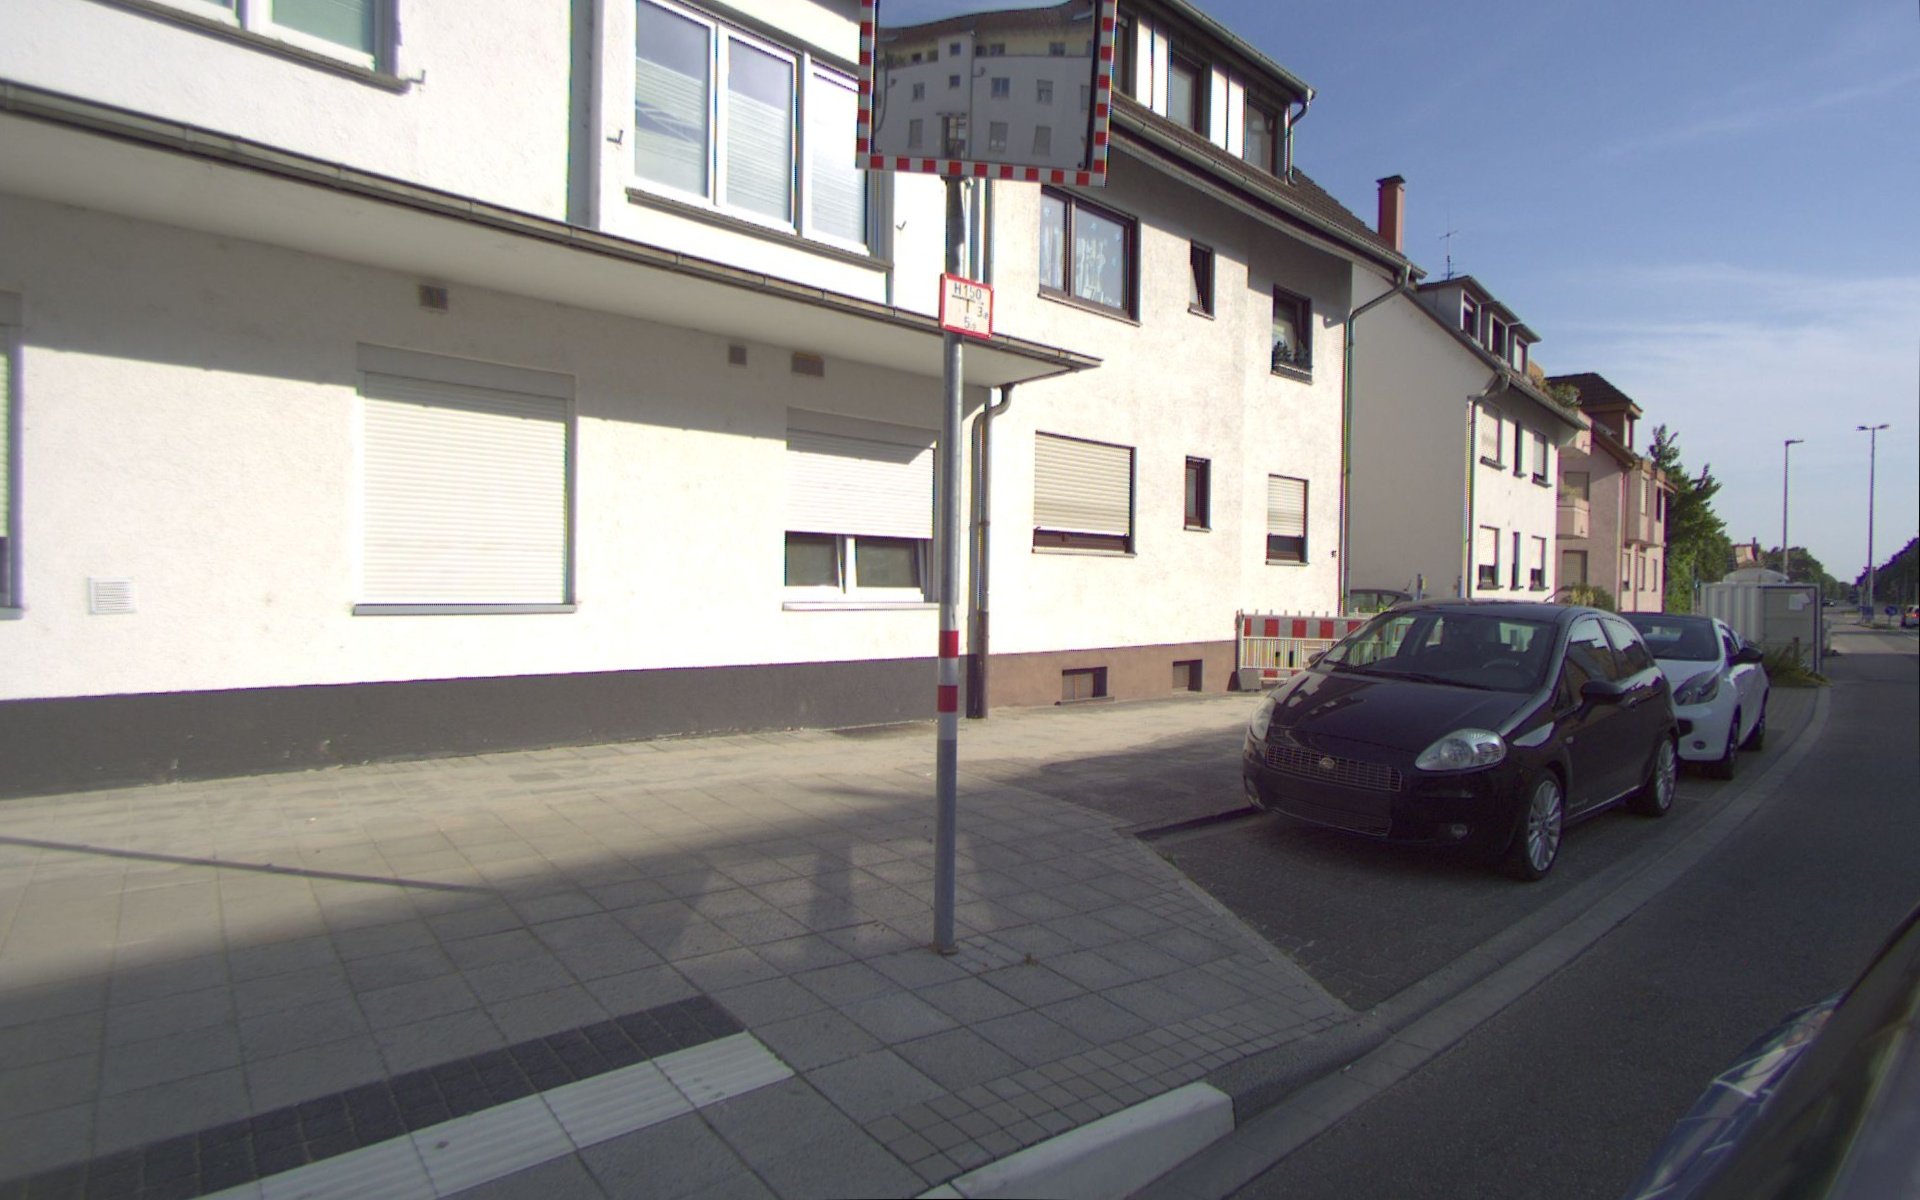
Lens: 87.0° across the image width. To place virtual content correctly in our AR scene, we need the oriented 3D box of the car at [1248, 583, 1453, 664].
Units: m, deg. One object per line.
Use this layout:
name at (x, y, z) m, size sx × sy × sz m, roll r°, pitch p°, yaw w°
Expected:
car at (8.314, 0.439, 21.741) m, size 3.742 × 1.586 × 1.766 m, roll 1°, pitch 1°, yaw 45°

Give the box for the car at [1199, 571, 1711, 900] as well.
car at (3.366, 0.601, 6.533) m, size 3.853 × 1.438 × 1.611 m, roll 0°, pitch 4°, yaw -42°

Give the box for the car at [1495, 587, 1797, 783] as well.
car at (6.952, 0.651, 10.052) m, size 1.716 × 1.415 × 4.265 m, roll 6°, pitch 5°, yaw 44°

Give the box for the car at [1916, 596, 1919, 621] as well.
car at (61.862, 0.558, 63.945) m, size 1.976 × 1.548 × 3.940 m, roll 2°, pitch 1°, yaw 42°

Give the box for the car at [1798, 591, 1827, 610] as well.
car at (74.530, 0.039, 88.443) m, size 1.790 × 1.459 × 3.940 m, roll 4°, pitch 3°, yaw 41°
